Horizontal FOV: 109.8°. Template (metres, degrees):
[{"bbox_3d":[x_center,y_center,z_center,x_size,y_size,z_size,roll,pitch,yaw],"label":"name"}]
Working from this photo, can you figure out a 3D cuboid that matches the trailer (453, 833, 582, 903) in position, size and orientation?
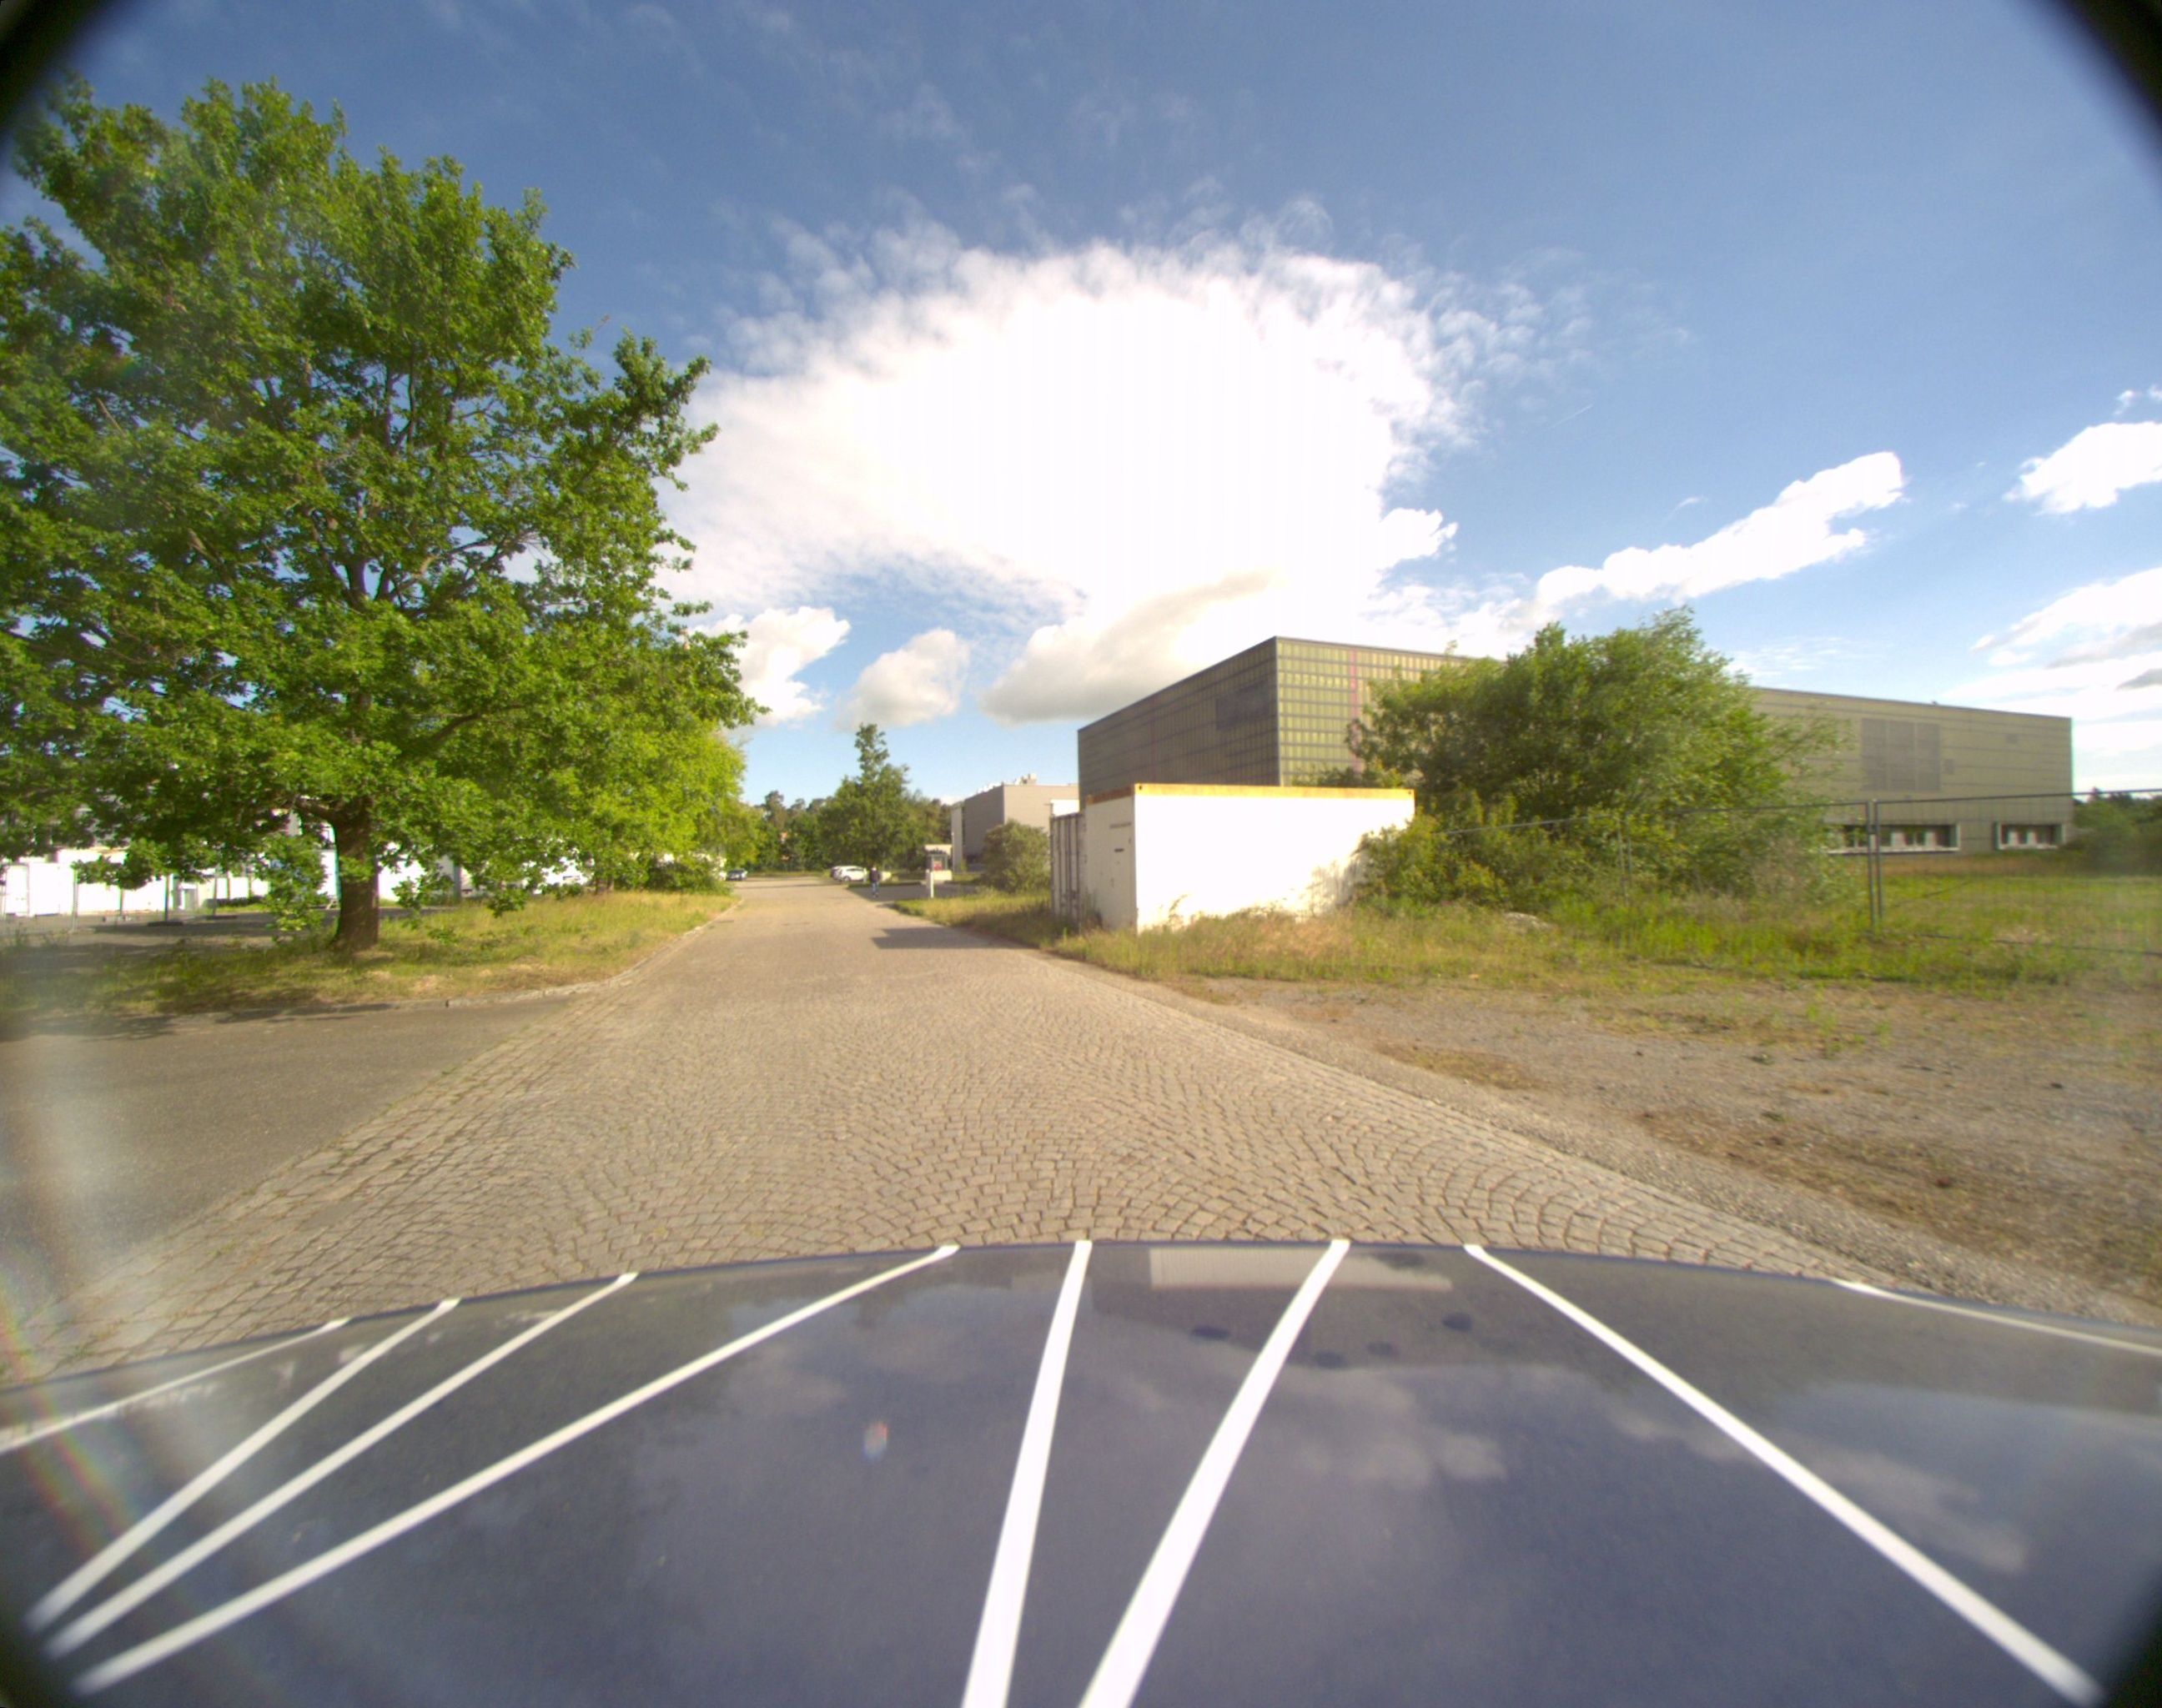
[{"bbox_3d":[-31.109,0.750,42.540,2.929,3.450,9.885,-1,0,-19],"label":"trailer"}]

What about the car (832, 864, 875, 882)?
[{"bbox_3d":[-22.566,1.878,75.378,4.002,1.633,1.997,-1,0,-16],"label":"car"}]

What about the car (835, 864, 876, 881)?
[{"bbox_3d":[-23.146,1.884,78.076,4.002,1.633,1.997,-1,0,-16],"label":"car"}]

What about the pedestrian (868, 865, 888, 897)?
[{"bbox_3d":[-10.284,1.361,38.598,0.868,1.549,1.027,-1,0,-10],"label":"pedestrian"}]

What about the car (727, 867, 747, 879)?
[{"bbox_3d":[-42.373,2.348,93.601,2.003,1.363,3.991,-1,0,-27],"label":"car"}]
